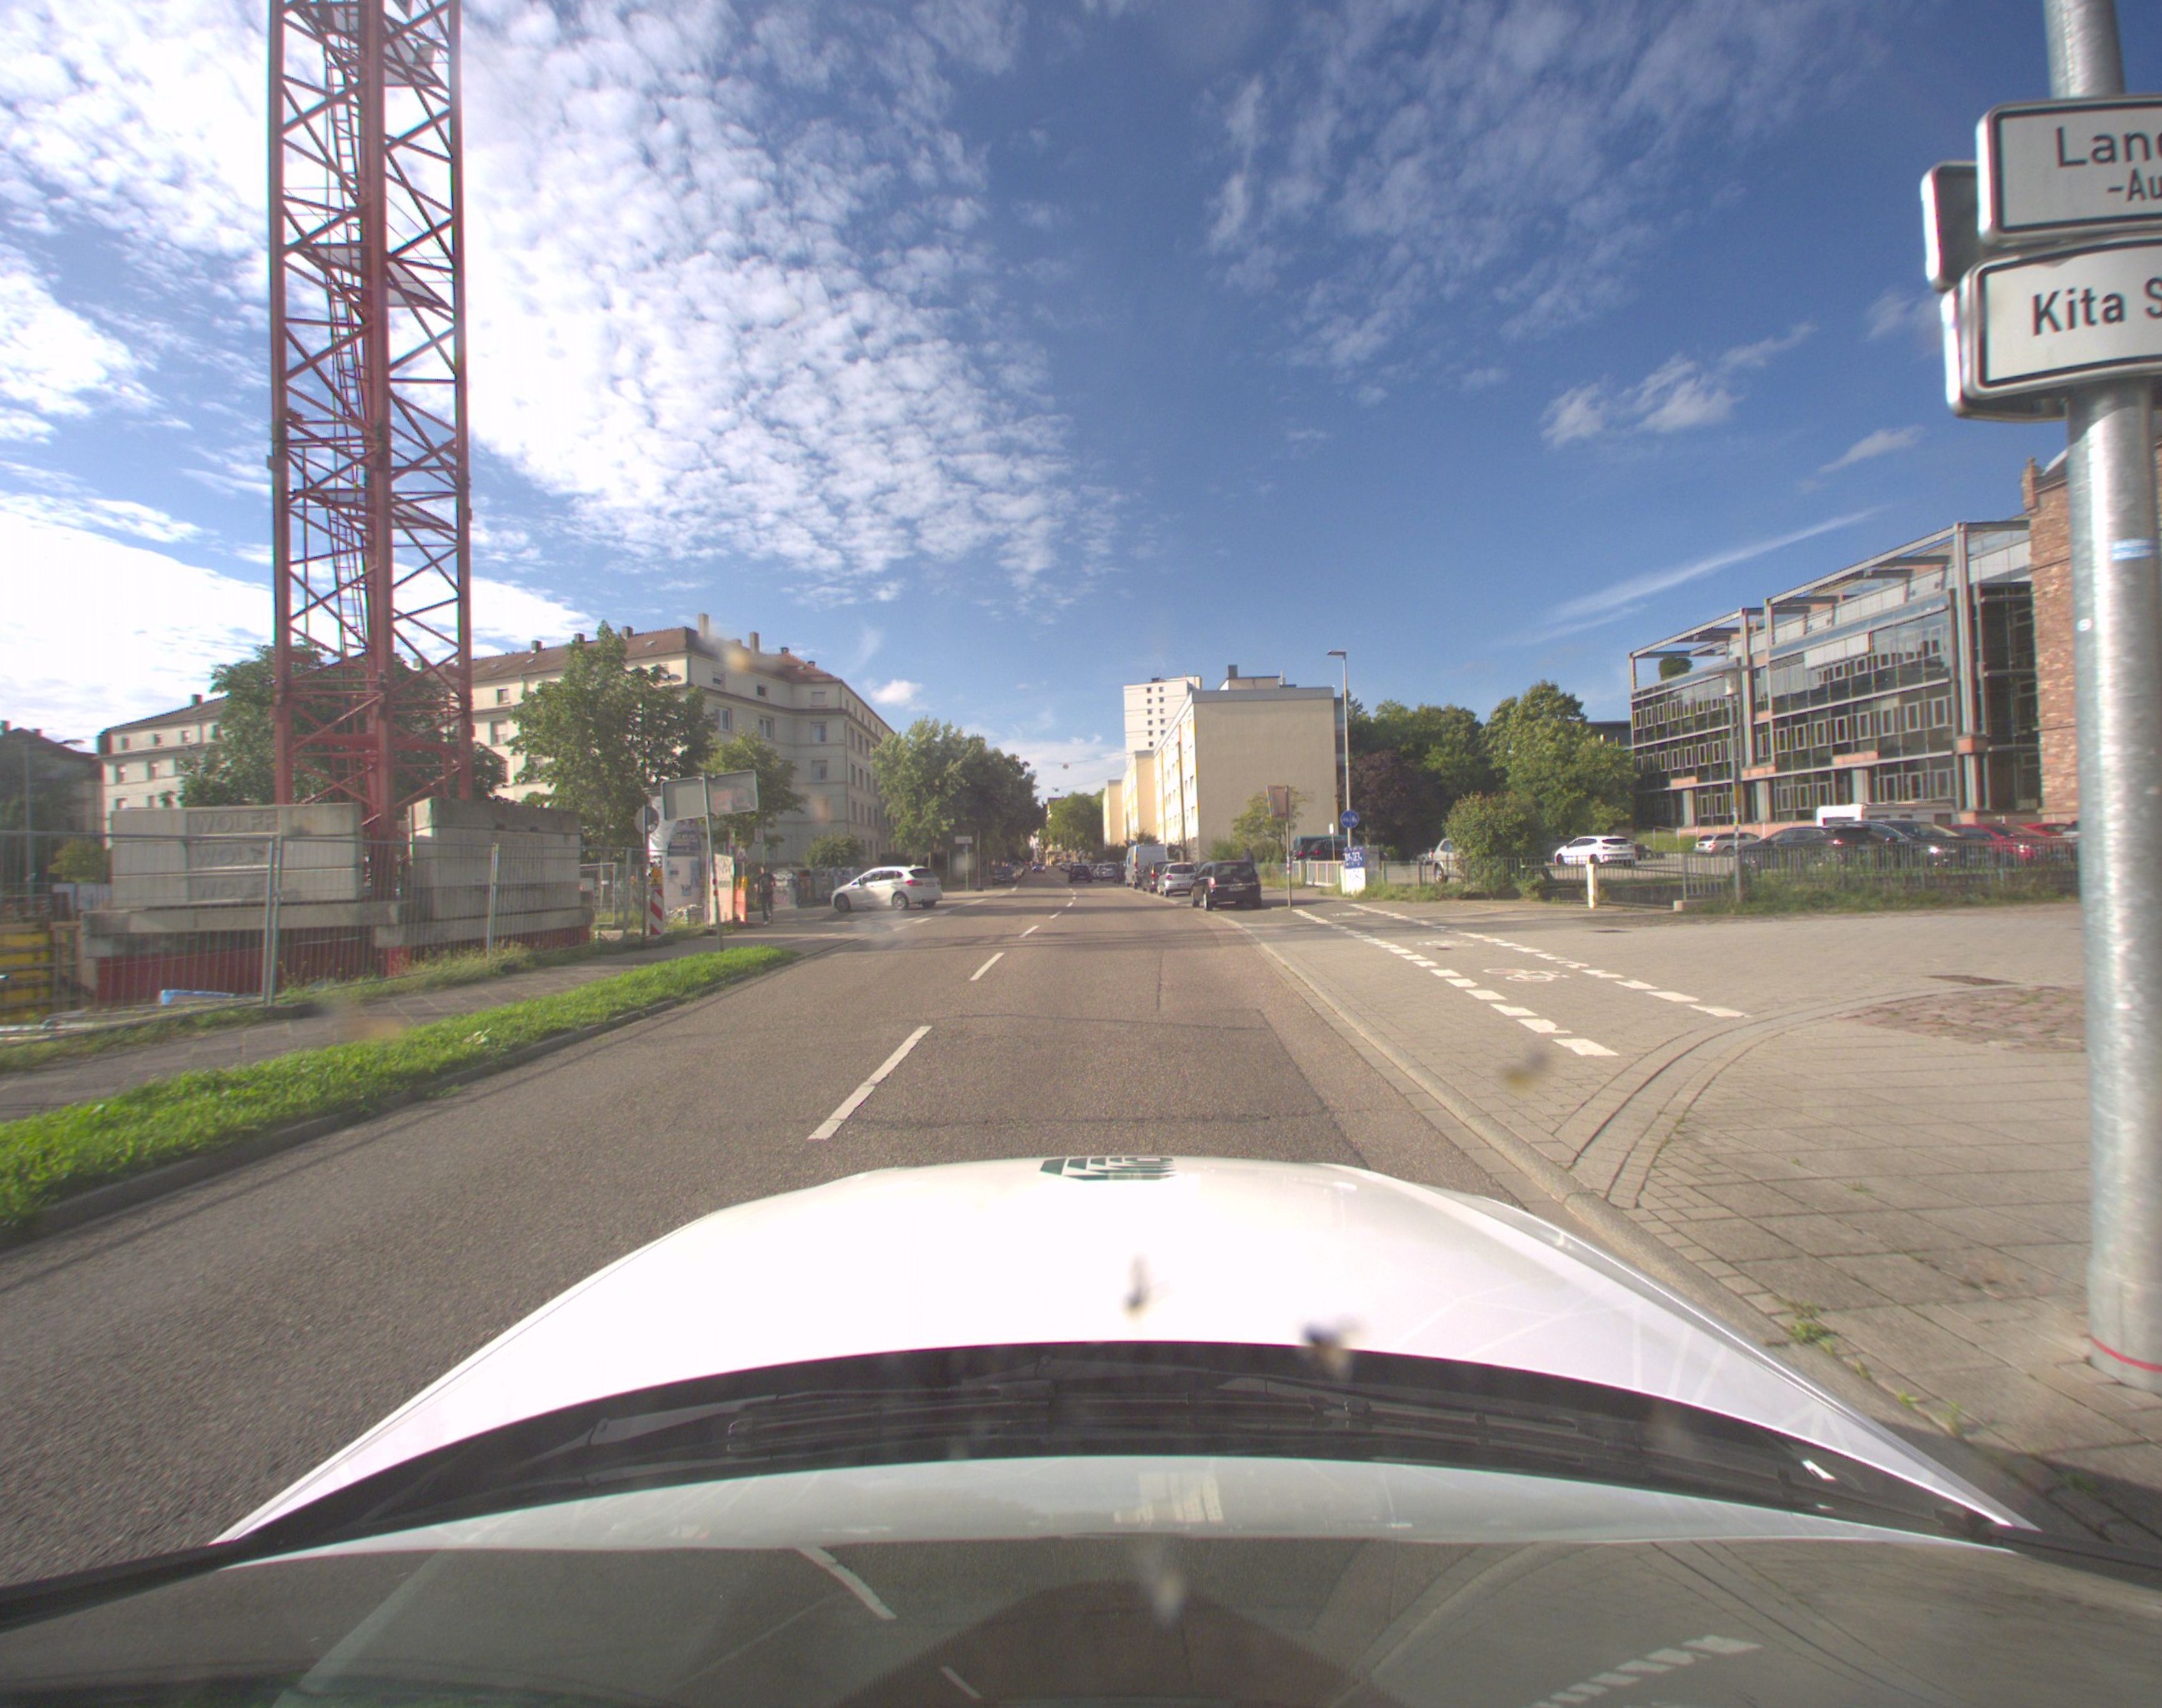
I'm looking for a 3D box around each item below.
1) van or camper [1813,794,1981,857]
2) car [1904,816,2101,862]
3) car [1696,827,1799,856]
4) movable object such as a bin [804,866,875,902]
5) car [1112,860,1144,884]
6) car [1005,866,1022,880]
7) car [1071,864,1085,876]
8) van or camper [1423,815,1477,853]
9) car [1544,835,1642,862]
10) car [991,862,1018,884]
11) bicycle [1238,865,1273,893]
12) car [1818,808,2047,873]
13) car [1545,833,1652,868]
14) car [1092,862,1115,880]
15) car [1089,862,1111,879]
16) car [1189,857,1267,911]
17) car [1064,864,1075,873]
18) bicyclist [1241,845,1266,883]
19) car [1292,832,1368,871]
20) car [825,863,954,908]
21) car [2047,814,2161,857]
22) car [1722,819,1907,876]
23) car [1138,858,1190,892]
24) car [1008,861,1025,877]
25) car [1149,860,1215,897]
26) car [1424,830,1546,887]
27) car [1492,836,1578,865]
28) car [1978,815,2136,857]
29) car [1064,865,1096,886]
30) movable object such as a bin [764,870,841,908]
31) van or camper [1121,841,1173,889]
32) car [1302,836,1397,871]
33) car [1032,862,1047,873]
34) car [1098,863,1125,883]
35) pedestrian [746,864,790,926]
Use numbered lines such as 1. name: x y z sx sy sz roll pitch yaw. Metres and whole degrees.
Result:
1. van or camper: 37.975 -1.293 38.028 5.226 2.556 2.594 -3 -1 -2
2. car: 29.339 -0.470 26.125 1.707 1.265 3.952 -3 1 -5
3. car: 38.873 -0.715 47.622 4.295 1.379 1.814 -4 -1 8
4. movable object such as a bin: -12.234 1.514 41.306 3.081 1.708 1.415 -1 -1 13
5. car: 3.391 1.295 59.376 1.988 1.574 3.998 -3 -1 -1
6. car: -7.912 2.208 94.878 1.805 1.561 3.426 -3 -1 -6
7. car: -0.438 2.490 125.851 1.988 1.684 3.998 -3 -1 -1
8. van or camper: 31.383 -1.626 69.431 2.320 2.874 5.124 -4 -1 2
9. car: 27.400 -0.280 43.699 3.968 1.310 2.003 -1 -1 5
10. car: -6.113 1.510 64.689 1.991 1.640 3.991 -3 -1 -6
11. bicycle: 7.121 1.003 33.403 0.738 1.035 2.761 -4 -1 0
12. car: 26.304 -0.326 25.467 1.847 1.743 4.793 -3 -1 -5
13. car: 23.589 -0.132 37.310 1.992 1.442 3.990 -3 -1 -7
14. car: 2.106 1.601 77.684 1.988 1.530 3.998 -3 -1 -1
15. car: 1.931 1.694 82.417 1.988 1.574 3.998 -3 -1 -1
16. car: 4.544 0.914 25.794 1.711 1.496 4.268 -2 -1 1
17. car: -2.155 2.829 156.797 1.987 1.755 4.000 -1 -1 0
18. bicyclist: 7.076 0.408 33.462 0.735 1.513 0.874 -4 -1 -1
19. car: 15.615 -0.154 51.224 4.102 2.186 2.002 -3 -1 3
20. car: -7.013 1.165 29.885 4.221 1.555 2.011 -2 -1 24
21. car: 39.070 -0.699 30.263 3.974 1.442 2.000 -3 -1 0
22. car: 23.577 -0.156 26.463 1.844 1.589 4.607 -3 -1 1
23. car: 4.244 1.056 42.426 1.989 1.616 4.402 -3 -1 -3
24. car: -8.802 2.056 111.240 1.988 2.014 3.998 -3 -1 -1
25. car: 4.506 1.091 37.089 2.012 1.475 4.794 -3 -1 -4
26. car: 13.396 0.158 27.316 1.987 1.666 4.151 -3 -1 1
27. car: 27.031 -0.213 48.608 3.976 1.486 1.999 -3 -1 -2
28. car: 39.319 -0.714 32.894 3.974 1.442 2.000 -3 -1 0
29. car: -0.118 1.677 64.099 1.991 1.570 3.990 -1 -1 -7
30. movable object such as a bin: -13.102 1.627 38.389 3.081 1.708 1.553 -1 -1 14
31. van or camper: 3.858 0.636 48.464 2.205 2.607 5.363 -3 -1 -4
32. car: 14.361 0.003 43.812 4.429 1.622 2.002 -3 -1 3
33. car: -6.785 2.252 132.335 2.053 1.663 3.917 -3 -1 -6
34. car: 2.576 1.590 69.815 1.988 1.574 3.998 -3 -1 -1
35. pedestrian: -9.110 1.187 23.772 1.008 1.728 1.173 -1 -2 -12
